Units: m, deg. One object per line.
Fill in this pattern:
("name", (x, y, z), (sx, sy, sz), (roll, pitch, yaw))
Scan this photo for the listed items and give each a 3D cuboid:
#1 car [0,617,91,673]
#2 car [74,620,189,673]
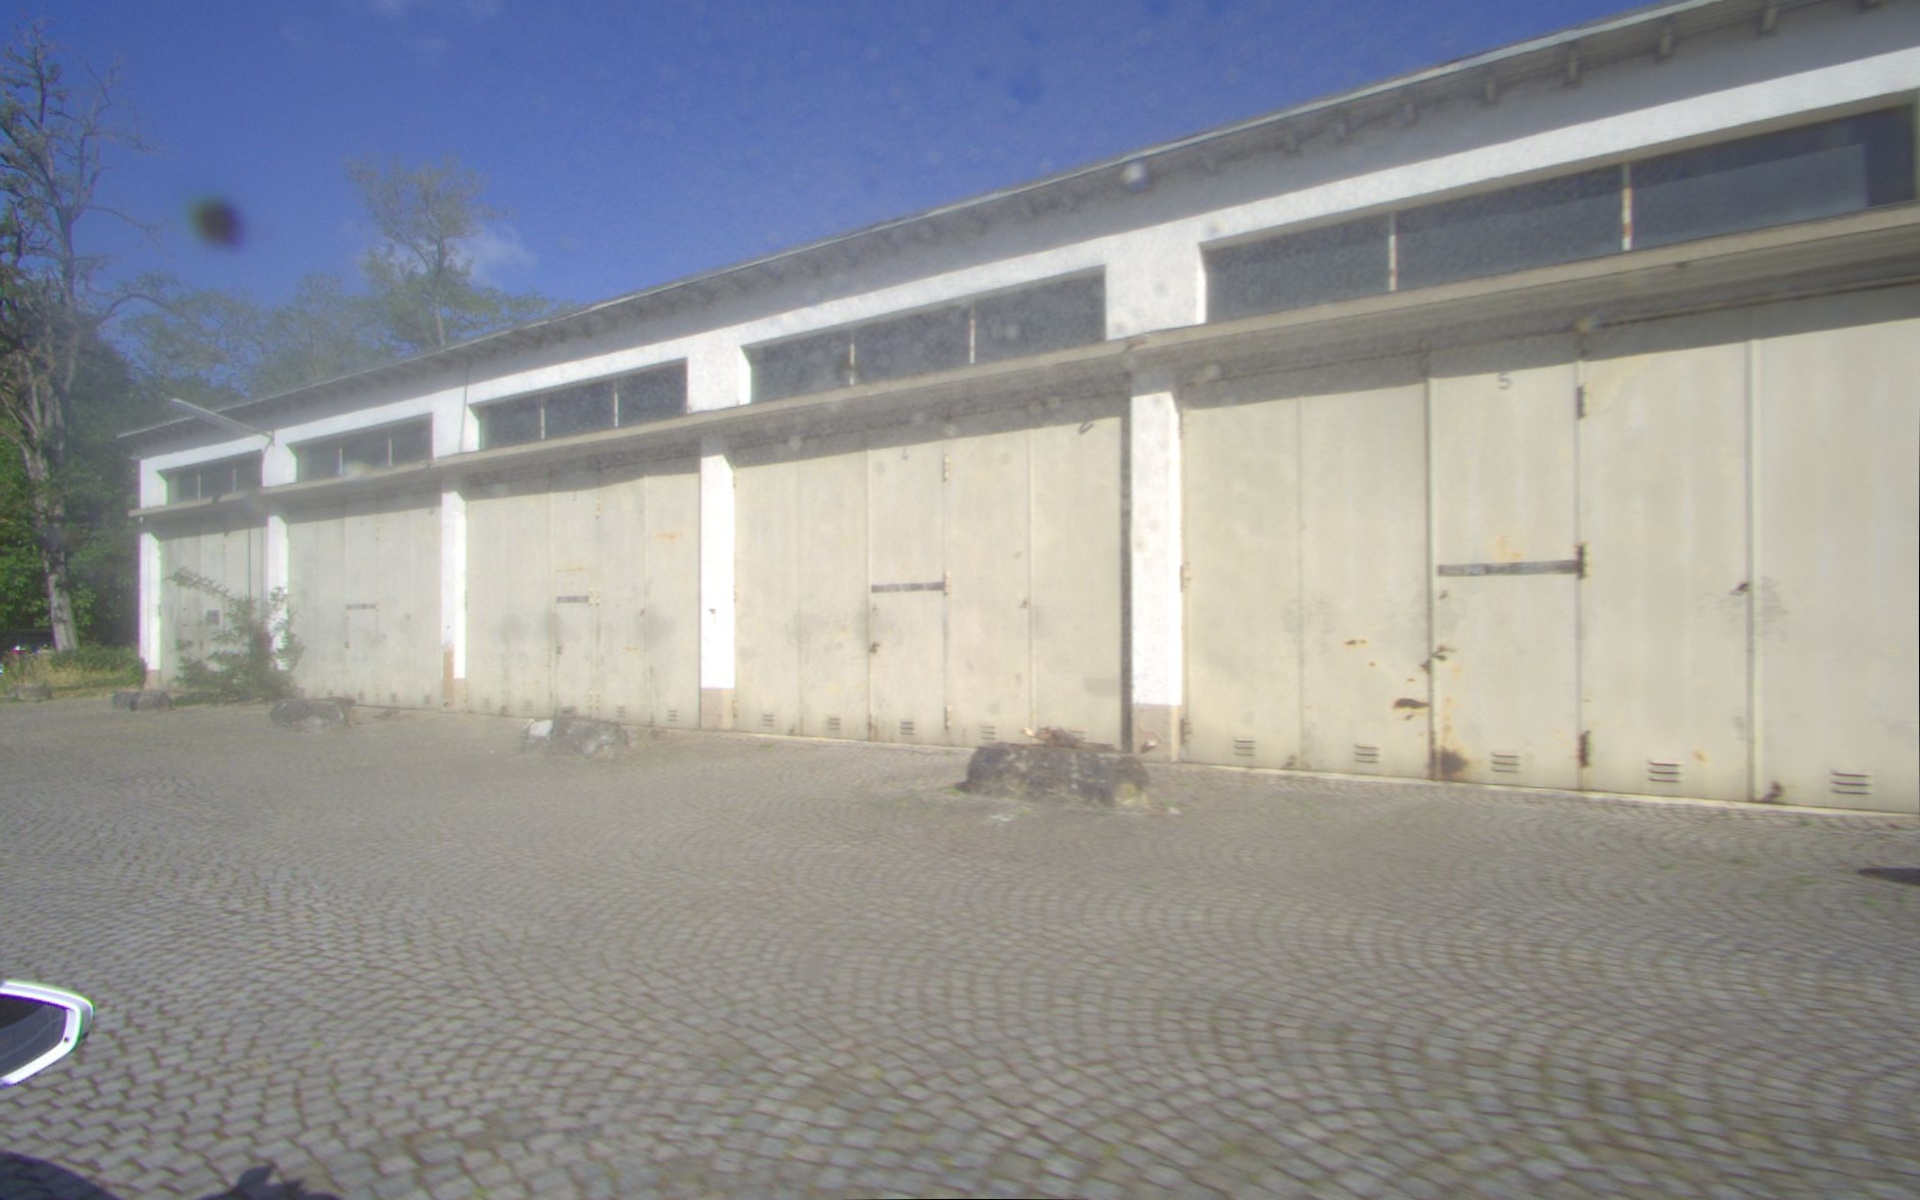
("car", (-31.852, 1.506, 34.409), (4.211, 1.652, 1.871), (2, -1, 33))
("car", (-30.707, 1.675, 37.097), (4.205, 1.610, 1.822), (3, 1, 28))
